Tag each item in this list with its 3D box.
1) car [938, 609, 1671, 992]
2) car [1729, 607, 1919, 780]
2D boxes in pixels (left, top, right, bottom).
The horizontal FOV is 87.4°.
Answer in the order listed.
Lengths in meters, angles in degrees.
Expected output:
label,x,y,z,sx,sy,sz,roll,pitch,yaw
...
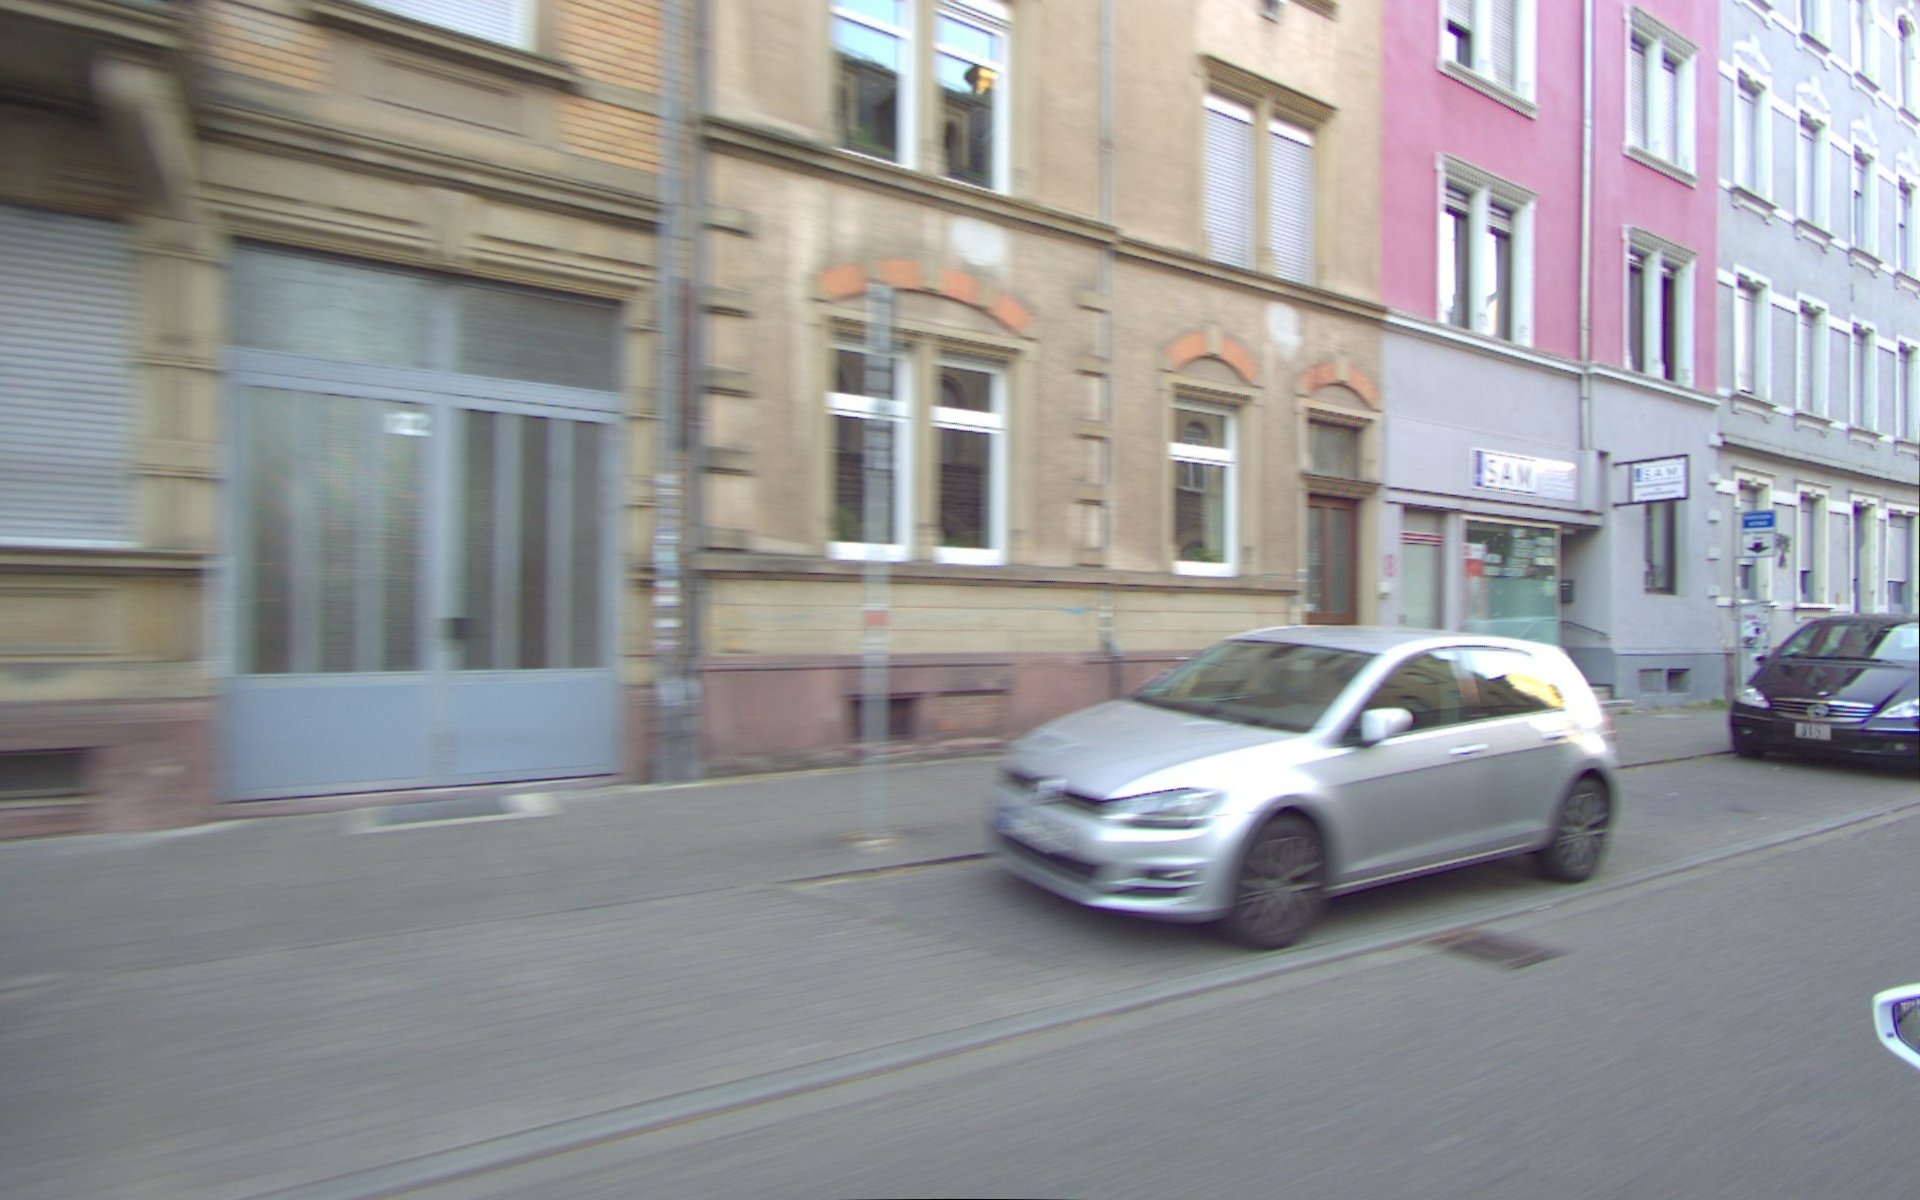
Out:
label,x,y,z,sx,sy,sz,roll,pitch,yaw
car,2.133,0.856,5.936,4.158,1.477,1.825,1,2,-31
car,10.128,0.894,10.906,3.739,1.586,1.627,1,0,-32
